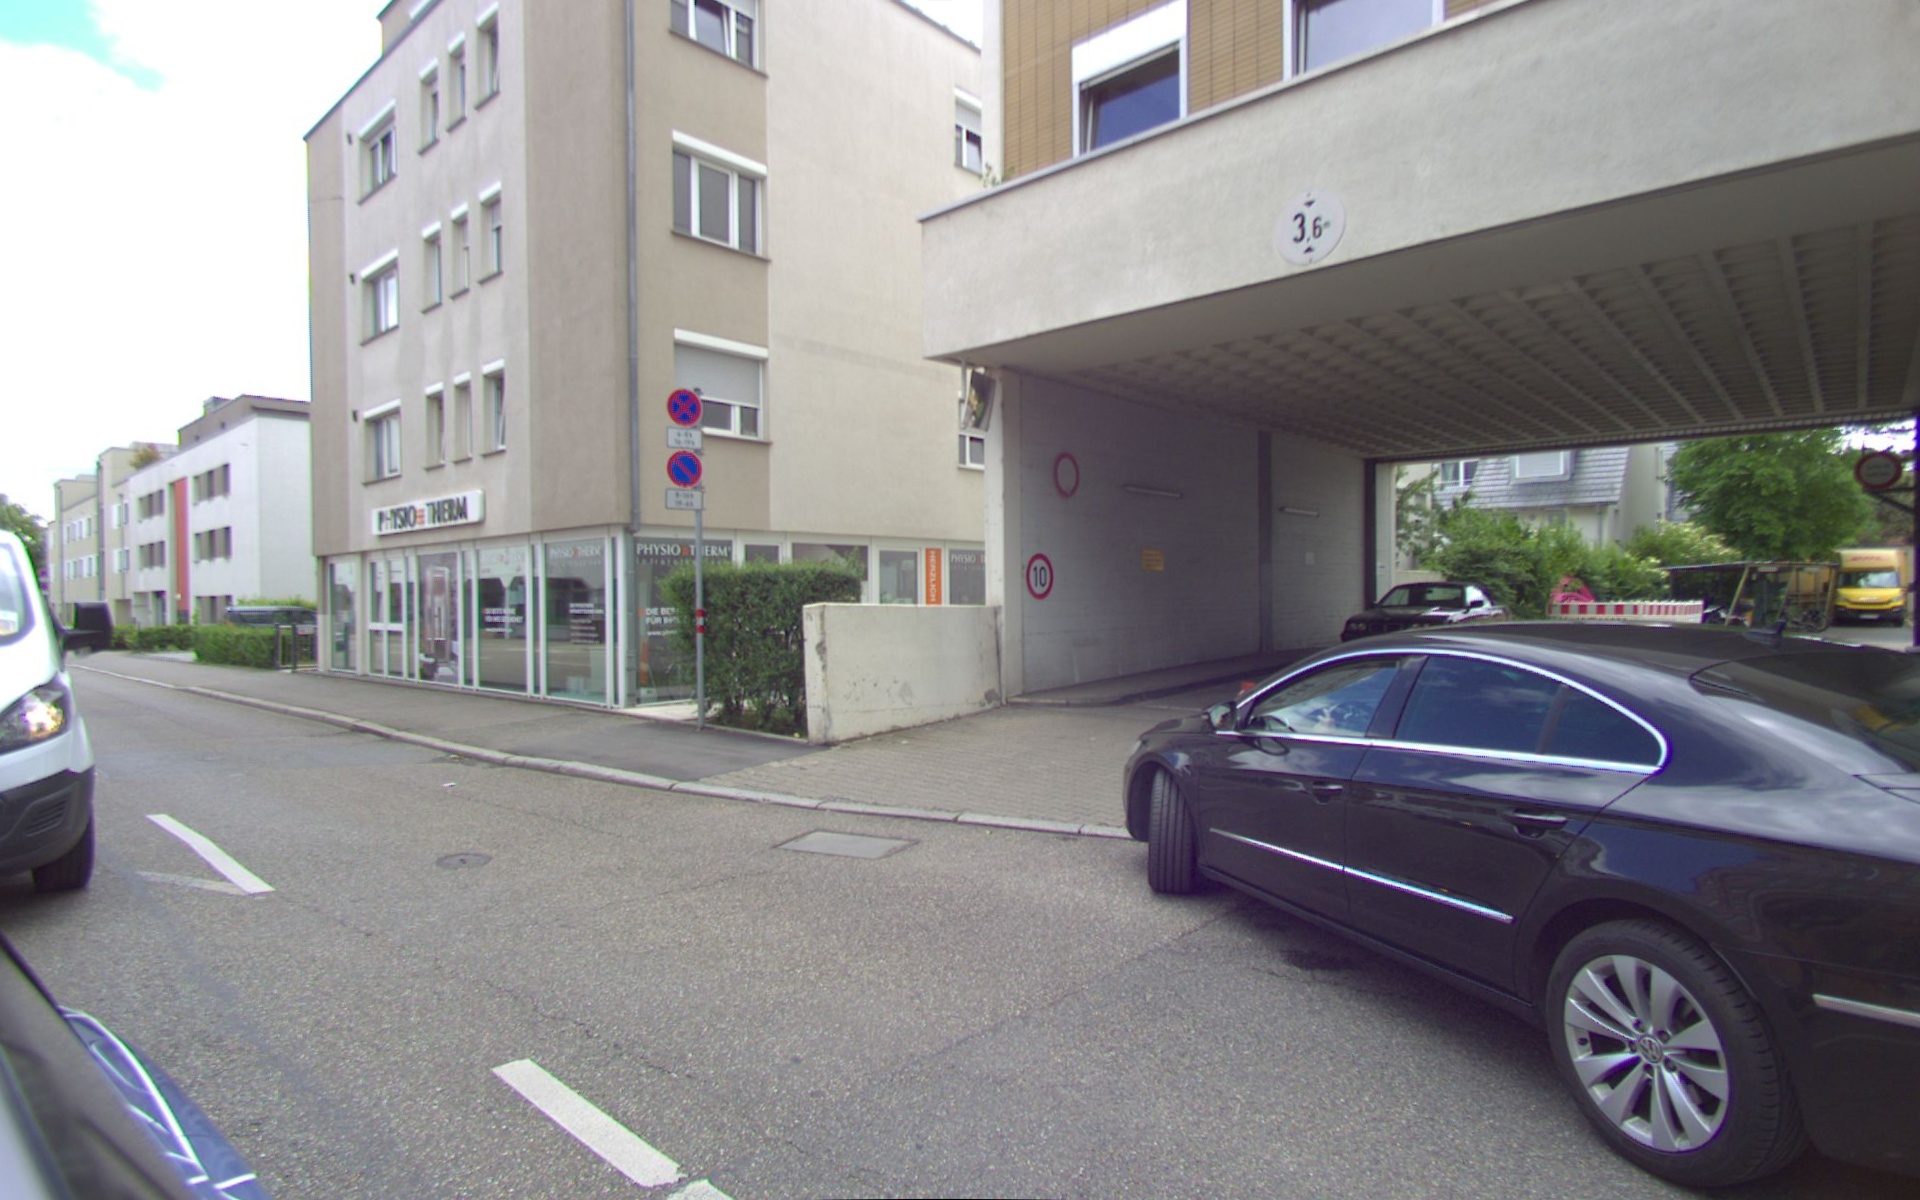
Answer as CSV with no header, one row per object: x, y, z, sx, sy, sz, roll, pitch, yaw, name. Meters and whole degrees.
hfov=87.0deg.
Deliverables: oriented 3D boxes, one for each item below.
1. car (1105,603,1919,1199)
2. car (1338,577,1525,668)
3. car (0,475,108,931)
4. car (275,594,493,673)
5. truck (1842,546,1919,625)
2.221,0.735,3.790,1.629,1.409,4.467,-1,0,-16,car
8.022,0.310,17.011,1.624,1.333,4.391,-1,0,42,car
-6.542,0.490,5.669,5.084,2.013,1.939,-1,-1,41,car
-16.150,0.869,28.569,1.967,2.013,5.014,-1,-1,44,car
35.694,-0.607,38.796,7.185,2.772,2.002,-2,1,-43,truck
